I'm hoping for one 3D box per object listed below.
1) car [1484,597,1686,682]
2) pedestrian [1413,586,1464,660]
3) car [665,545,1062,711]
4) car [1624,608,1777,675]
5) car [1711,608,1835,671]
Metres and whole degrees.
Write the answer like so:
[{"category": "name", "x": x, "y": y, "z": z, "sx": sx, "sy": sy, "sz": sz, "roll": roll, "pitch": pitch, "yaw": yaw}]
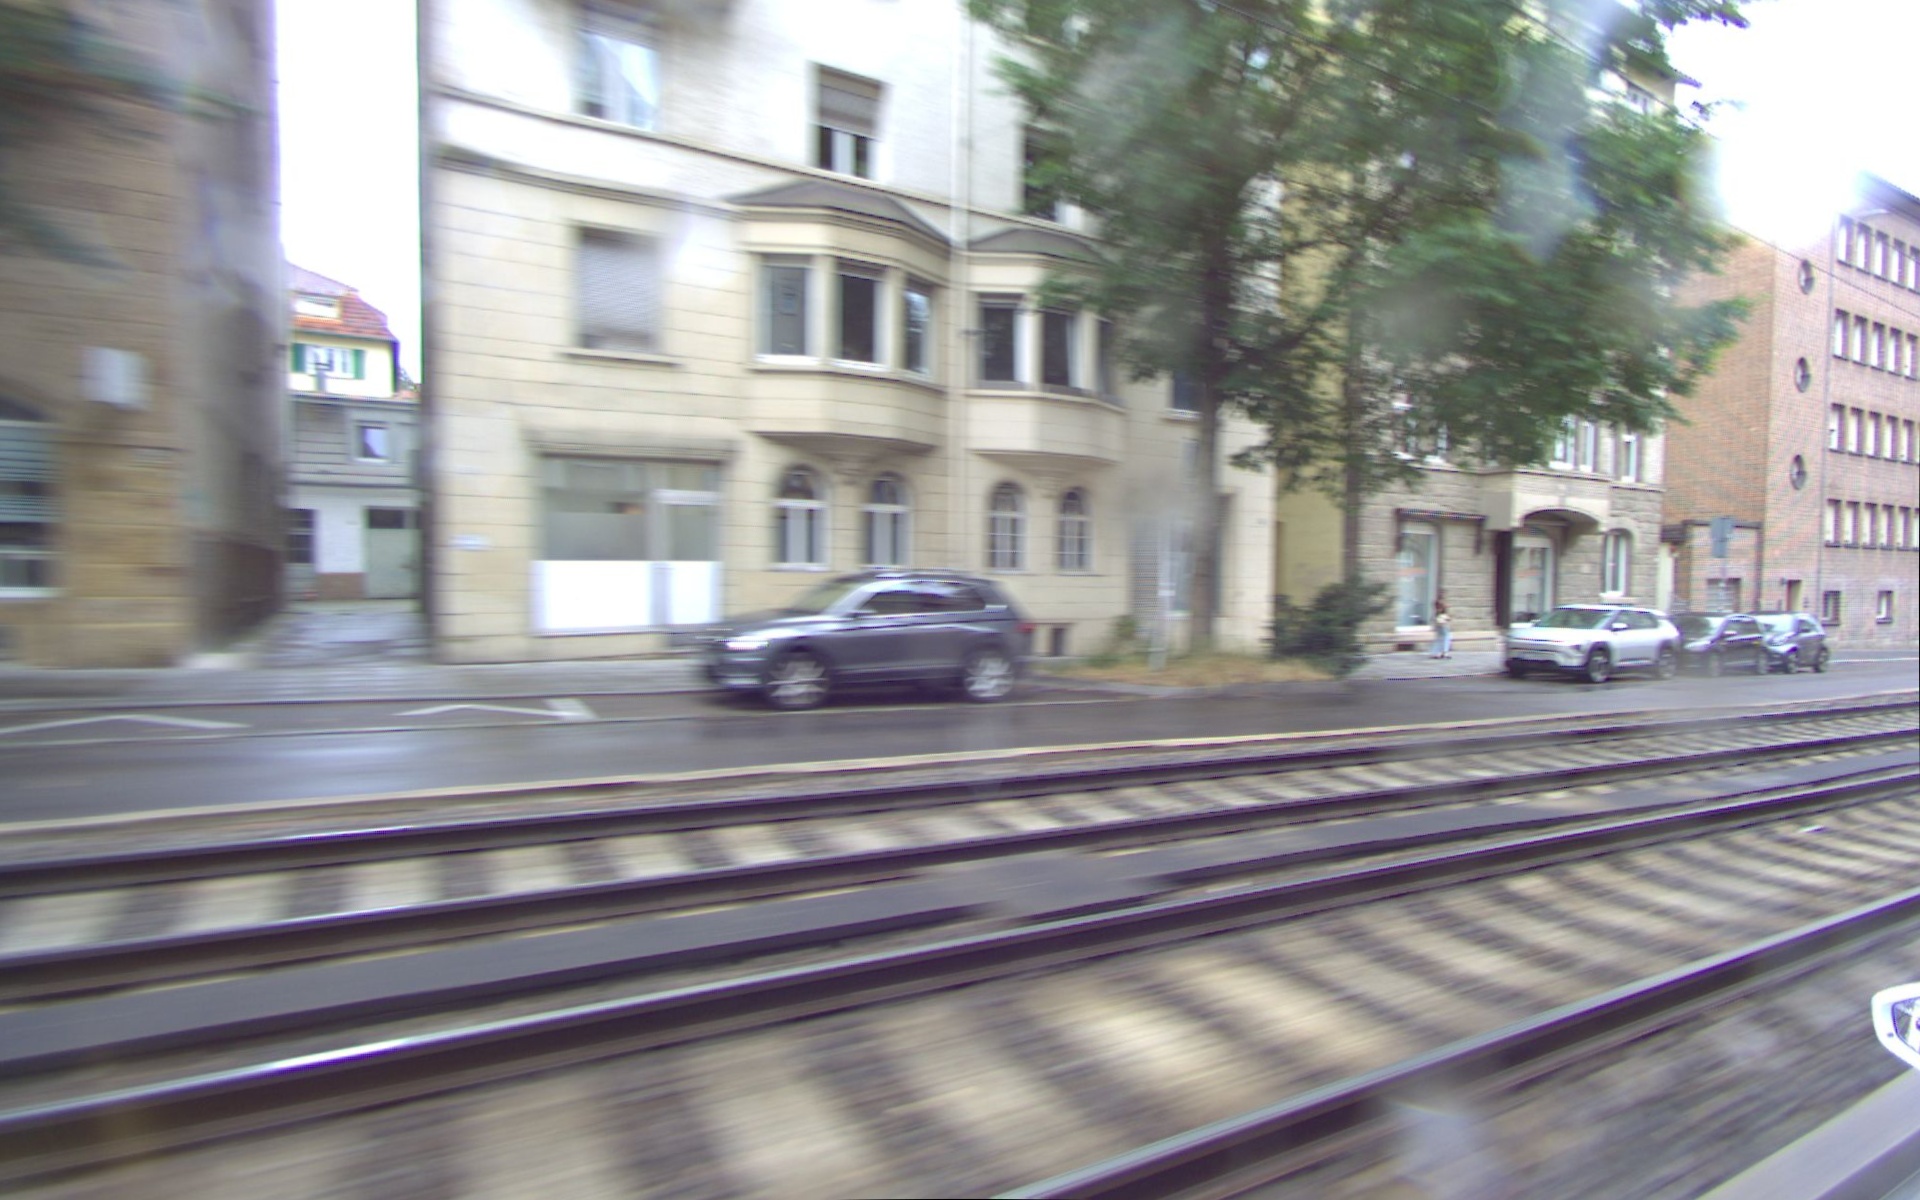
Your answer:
[{"category": "car", "x": 13.518, "y": 0.805, "z": 21.688, "sx": 4.279, "sy": 1.627, "sz": 1.951, "roll": 1, "pitch": 1, "yaw": -31}, {"category": "pedestrian", "x": 11.155, "y": 0.525, "z": 23.435, "sx": 0.762, "sy": 1.685, "sz": 0.724, "roll": 1, "pitch": 1, "yaw": -30}, {"category": "car", "x": -1.177, "y": 0.296, "z": 13.020, "sx": 4.725, "sy": 1.765, "sz": 1.942, "roll": 1, "pitch": 4, "yaw": -32}, {"category": "car", "x": 17.844, "y": 0.963, "z": 24.189, "sx": 3.644, "sy": 1.434, "sz": 1.658, "roll": 1, "pitch": 1, "yaw": -31}, {"category": "car", "x": 21.074, "y": 0.992, "z": 26.031, "sx": 3.010, "sy": 1.486, "sz": 1.563, "roll": 1, "pitch": 1, "yaw": -31}]
